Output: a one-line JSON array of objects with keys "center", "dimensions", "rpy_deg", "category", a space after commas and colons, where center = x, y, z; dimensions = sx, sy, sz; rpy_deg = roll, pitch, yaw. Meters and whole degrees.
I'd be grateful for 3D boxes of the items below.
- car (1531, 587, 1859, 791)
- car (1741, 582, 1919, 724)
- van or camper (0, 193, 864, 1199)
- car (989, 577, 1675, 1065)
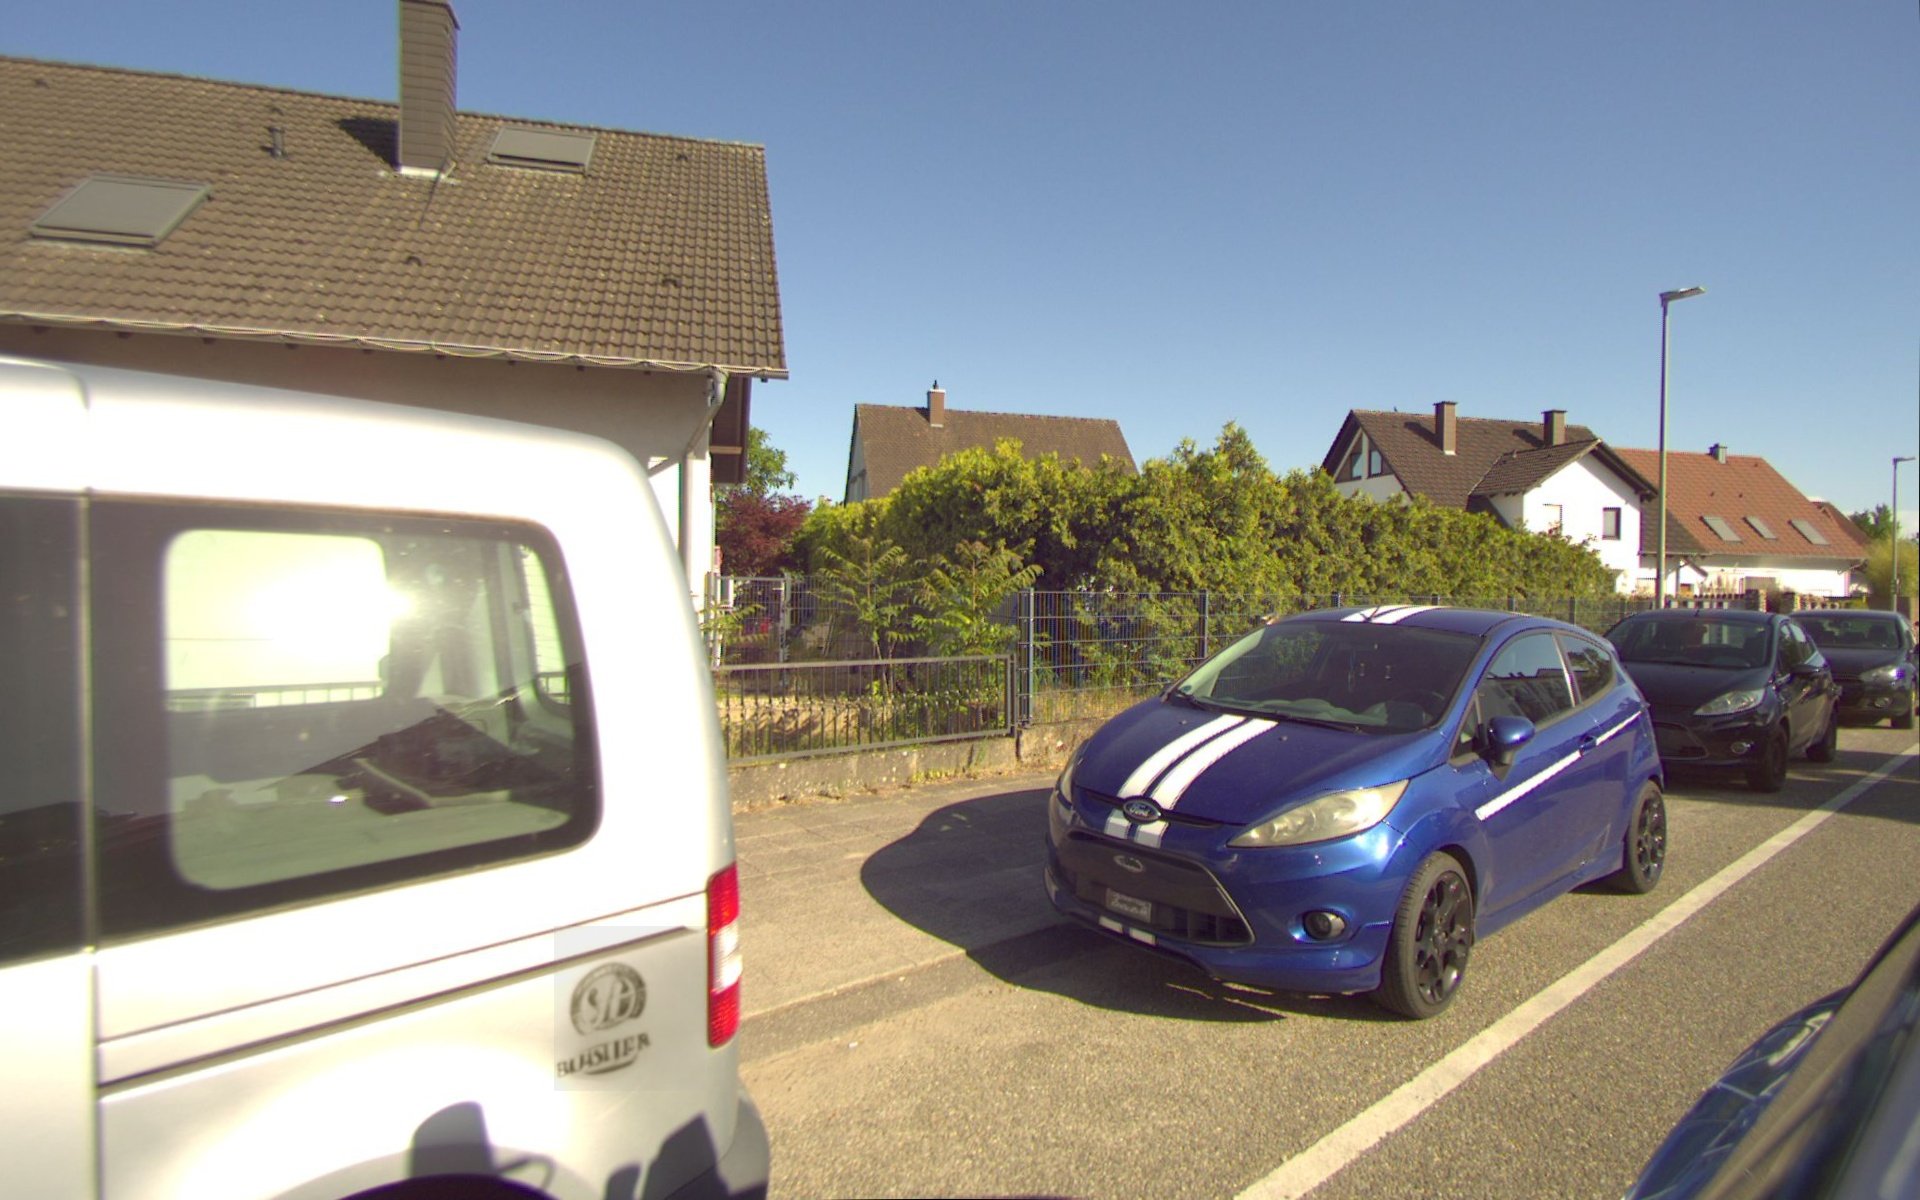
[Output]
[{"center": [7.010, 0.655, 9.511], "dimensions": [3.839, 1.524, 1.721], "rpy_deg": [0, 0, -41], "category": "car"}, {"center": [12.258, 0.628, 13.915], "dimensions": [3.750, 1.680, 1.778], "rpy_deg": [0, 0, -42], "category": "car"}, {"center": [-2.284, 0.525, 1.109], "dimensions": [4.105, 1.914, 1.722], "rpy_deg": [0, 0, -40], "category": "van or camper"}, {"center": [2.003, 0.679, 4.978], "dimensions": [3.501, 1.524, 1.721], "rpy_deg": [0, 0, -41], "category": "car"}]
